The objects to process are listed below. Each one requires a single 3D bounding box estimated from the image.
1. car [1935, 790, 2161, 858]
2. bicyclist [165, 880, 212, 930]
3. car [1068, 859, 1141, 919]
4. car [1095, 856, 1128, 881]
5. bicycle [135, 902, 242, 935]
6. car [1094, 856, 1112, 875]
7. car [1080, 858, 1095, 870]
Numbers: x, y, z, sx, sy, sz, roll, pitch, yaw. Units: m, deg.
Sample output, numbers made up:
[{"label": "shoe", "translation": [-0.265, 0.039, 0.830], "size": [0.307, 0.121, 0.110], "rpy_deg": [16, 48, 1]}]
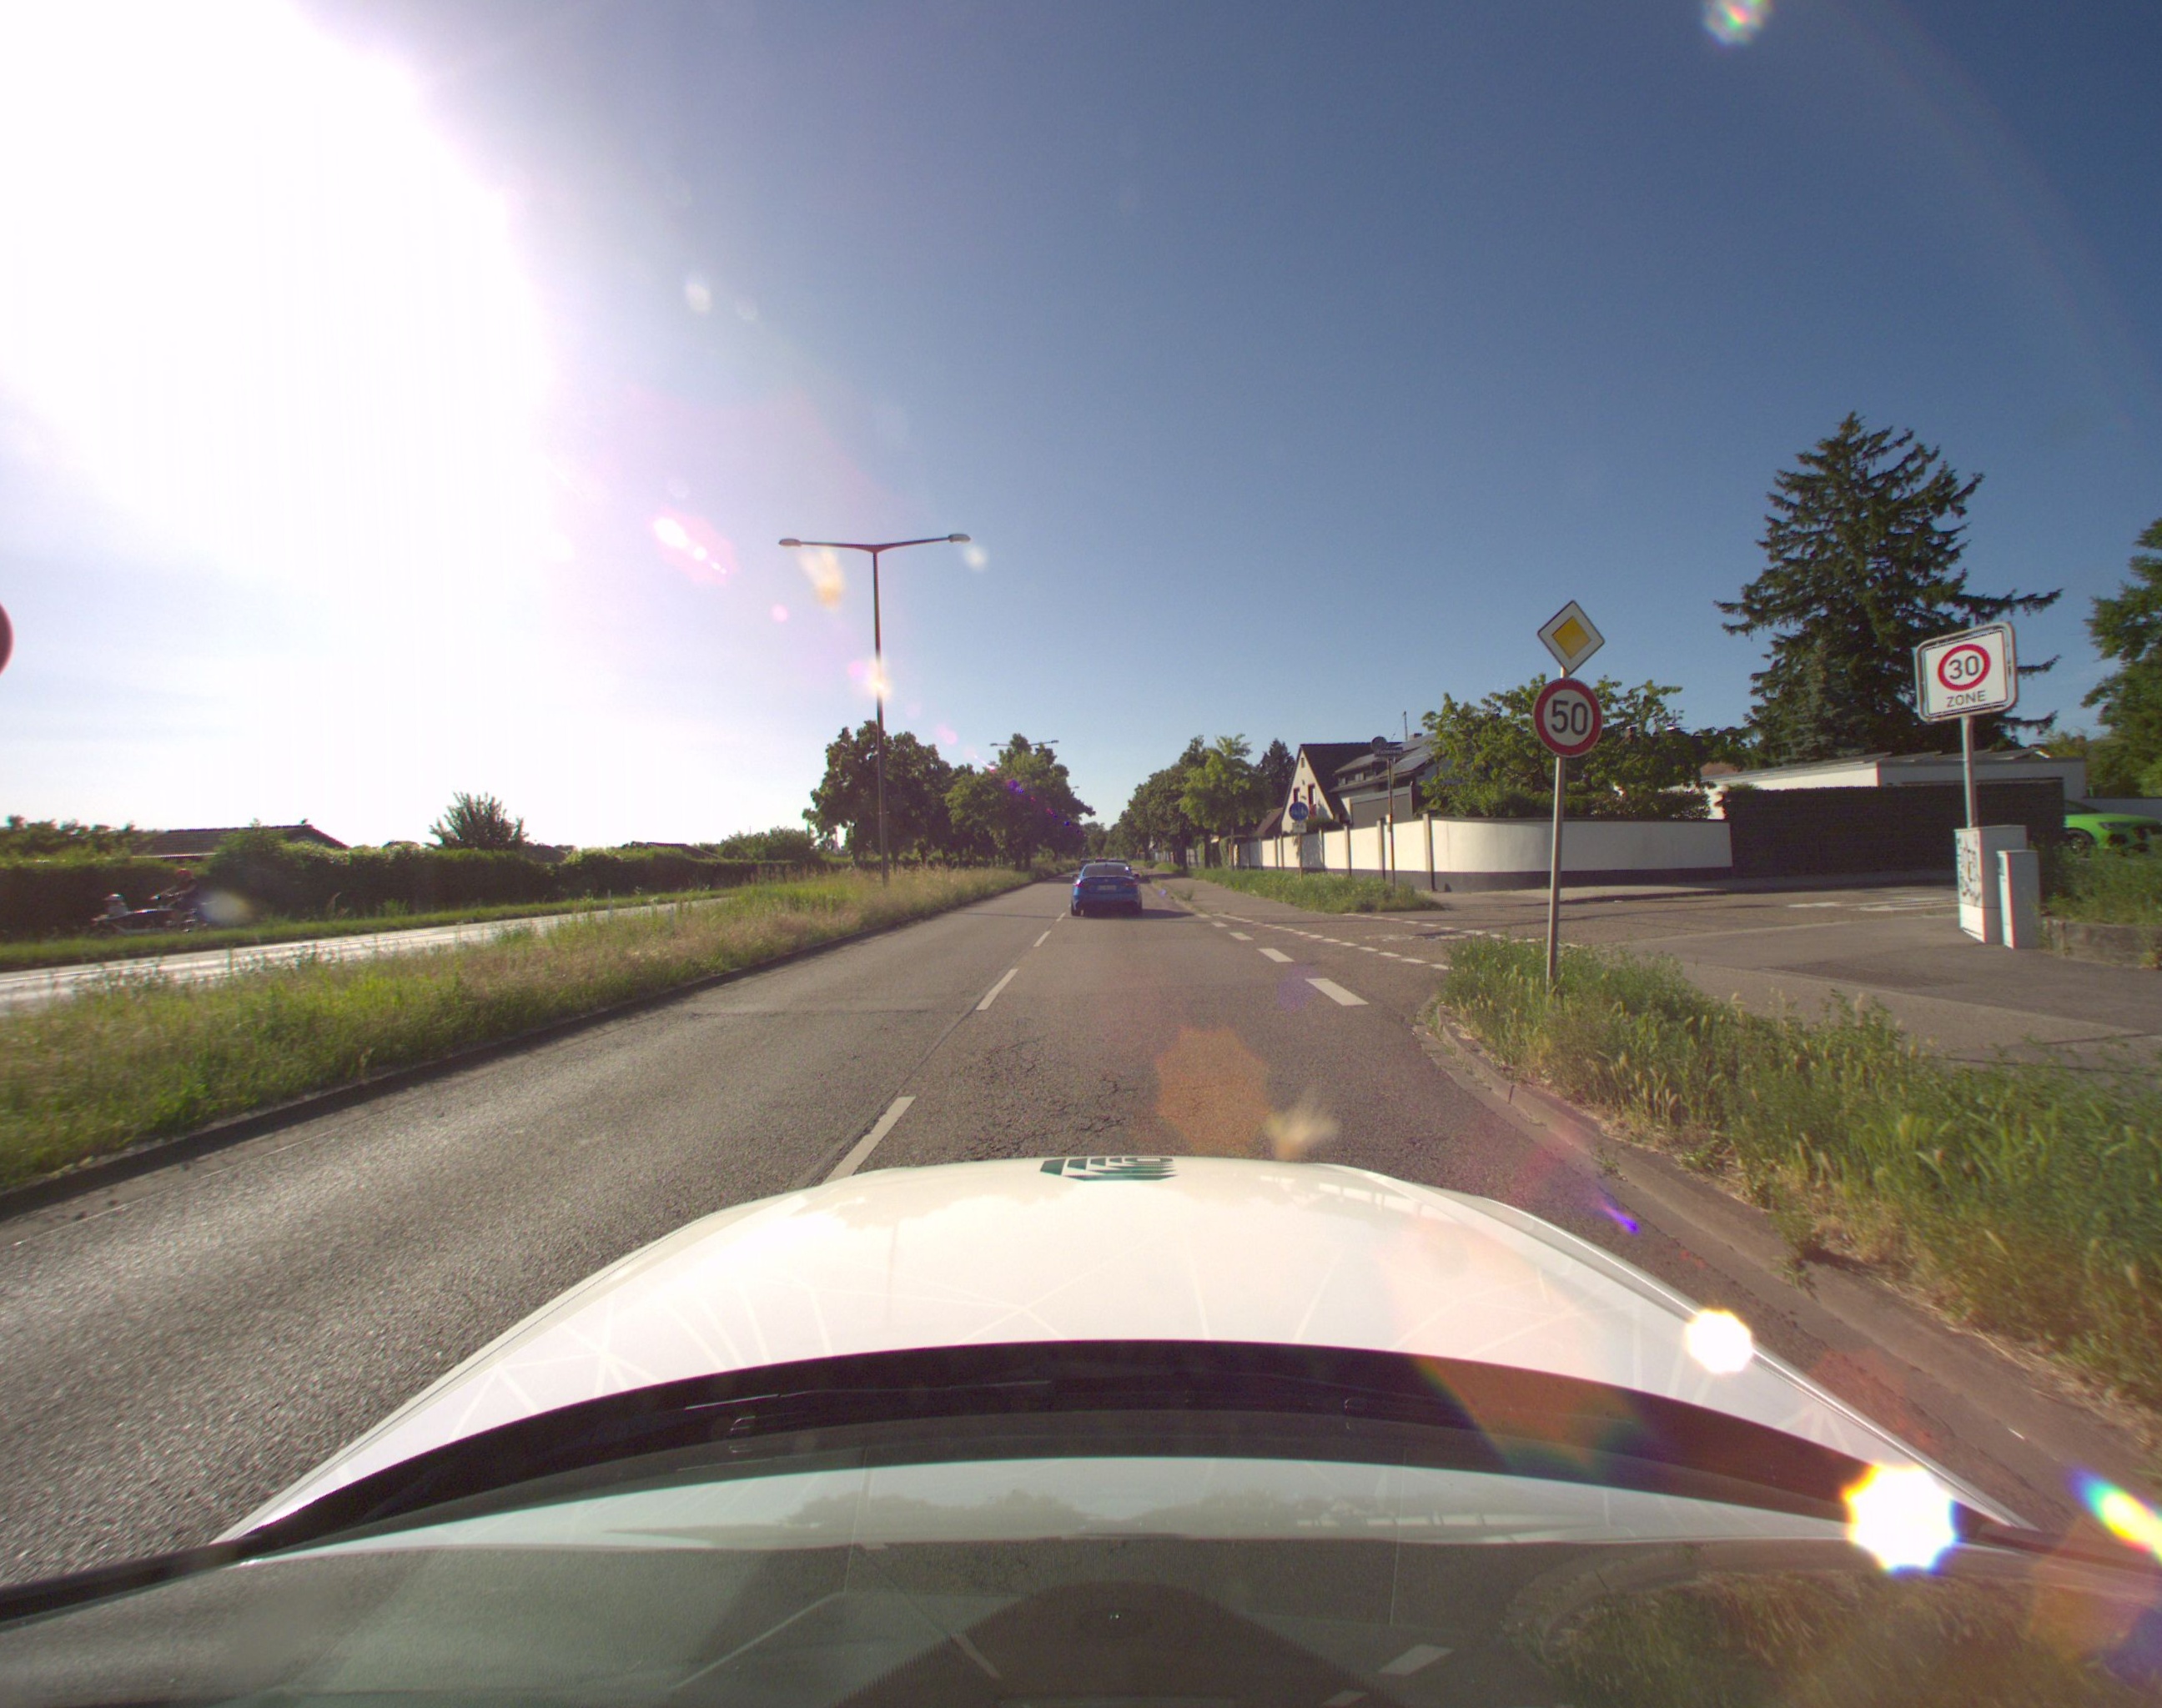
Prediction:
[{"label": "car", "translation": [25.542, -0.722, 21.508], "size": [1.585, 1.581, 3.993], "rpy_deg": [-3, 0, -5]}, {"label": "bicyclist", "translation": [-23.231, 1.317, 21.199], "size": [0.579, 1.257, 0.577], "rpy_deg": [-1, 0, 8]}, {"label": "car", "translation": [0.729, 0.926, 23.035], "size": [1.831, 1.474, 4.188], "rpy_deg": [-2, -1, 3]}, {"label": "car", "translation": [2.002, 0.937, 54.569], "size": [1.910, 1.579, 4.179], "rpy_deg": [-1, 0, -2]}, {"label": "bicycle", "translation": [-23.217, 1.671, 21.237], "size": [0.561, 0.695, 1.879], "rpy_deg": [-1, 0, 9]}, {"label": "car", "translation": [2.397, 1.266, 88.706], "size": [1.786, 2.014, 4.001], "rpy_deg": [-1, 0, 2]}, {"label": "car", "translation": [0.836, 1.233, 105.683], "size": [1.909, 1.512, 4.067], "rpy_deg": [-1, 0, 0]}]
